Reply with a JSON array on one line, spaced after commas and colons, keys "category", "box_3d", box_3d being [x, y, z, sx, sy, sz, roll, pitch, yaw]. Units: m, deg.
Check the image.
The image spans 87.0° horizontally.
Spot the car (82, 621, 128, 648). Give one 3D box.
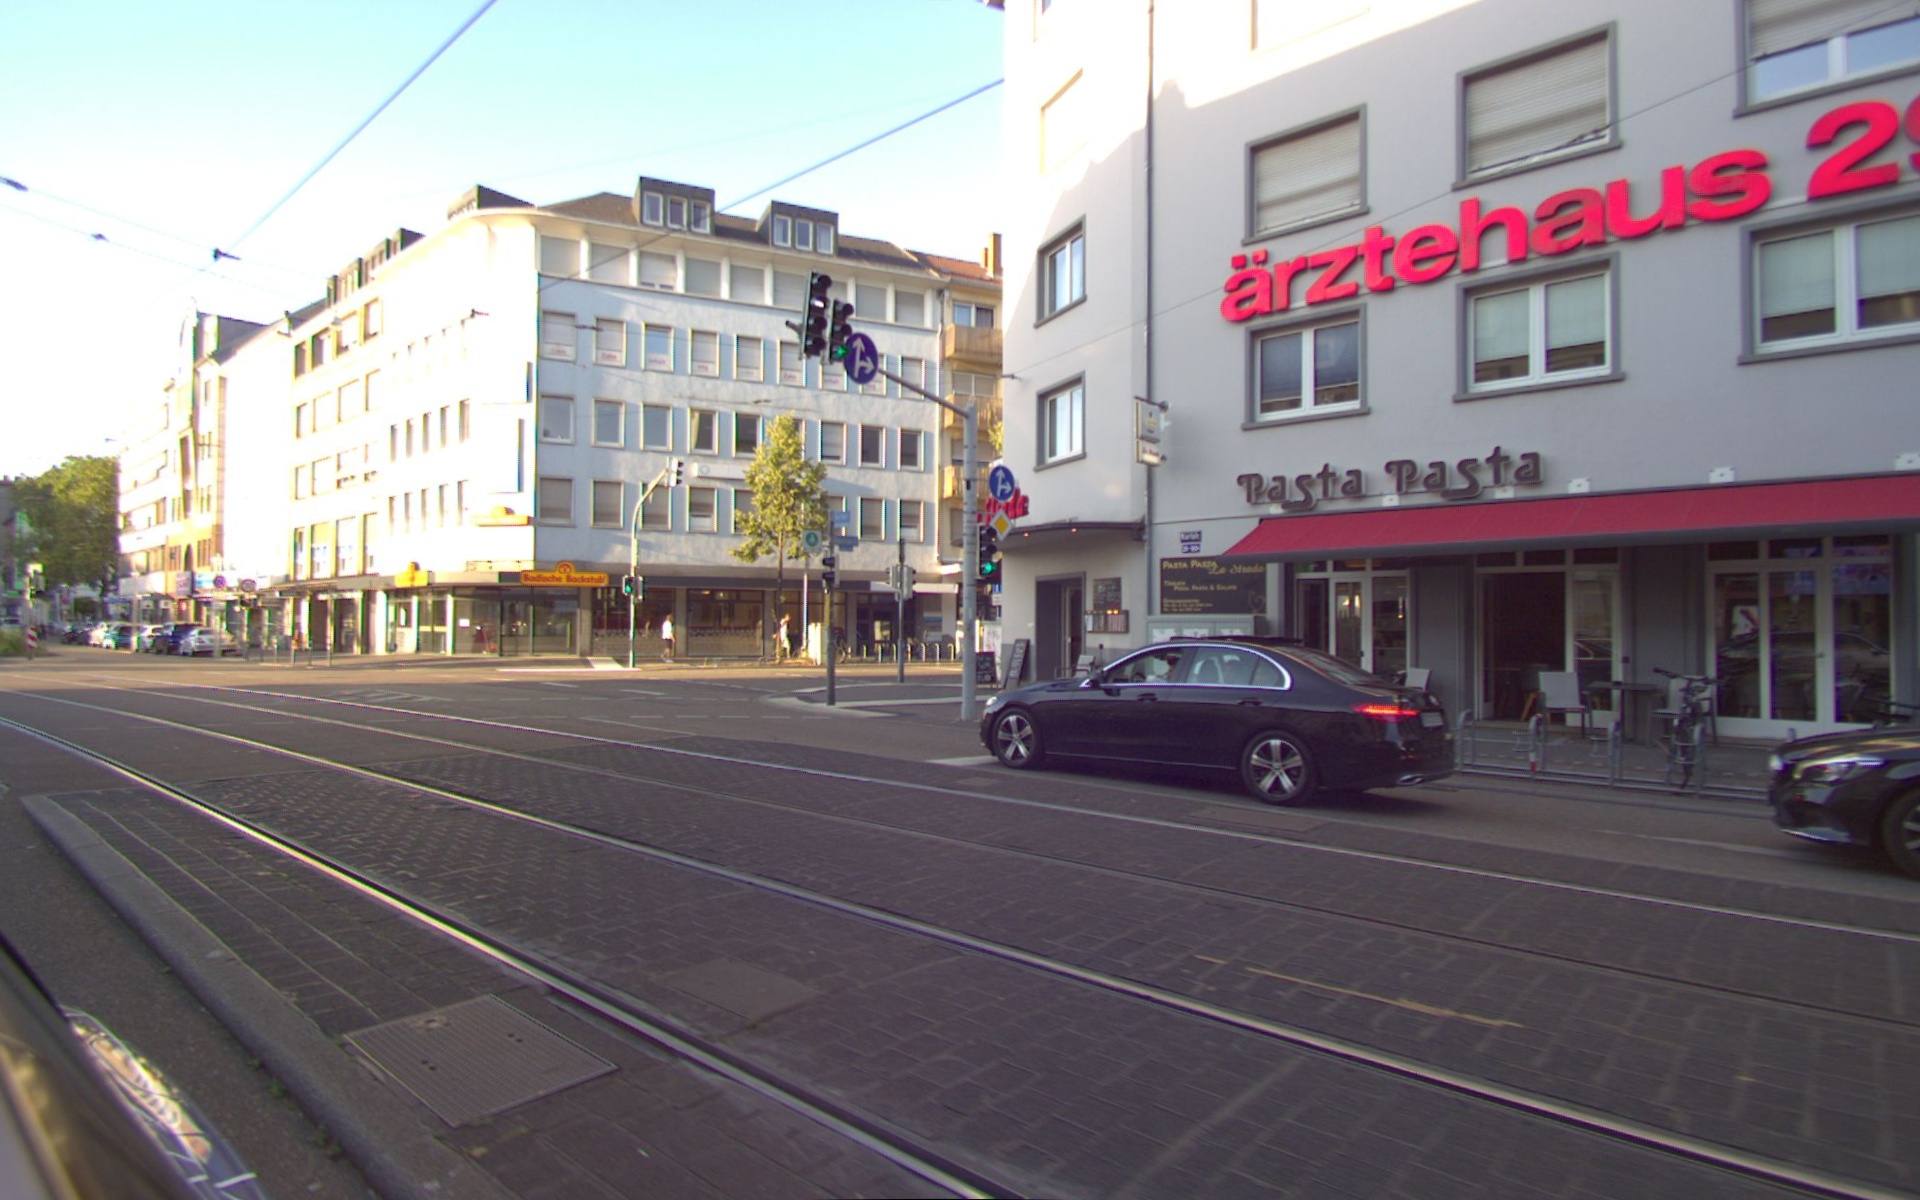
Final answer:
[{"category": "car", "box_3d": [-53.435, 2.133, 63.239, 4.001, 1.648, 1.822, -2, -2, 44]}]

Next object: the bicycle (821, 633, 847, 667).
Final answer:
[{"category": "bicycle", "box_3d": [-4.696, 1.853, 37.672, 0.462, 1.213, 1.925, 1, -2, -23]}]

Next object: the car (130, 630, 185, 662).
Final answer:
[{"category": "car", "box_3d": [-43.401, 2.440, 54.695, 4.001, 1.648, 1.822, -2, -2, 44]}]

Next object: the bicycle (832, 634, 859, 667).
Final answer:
[{"category": "bicycle", "box_3d": [-4.315, 1.876, 38.008, 0.462, 1.213, 1.925, 1, -2, -23]}]

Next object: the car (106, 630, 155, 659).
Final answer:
[{"category": "car", "box_3d": [-49.131, 2.596, 59.929, 4.001, 1.648, 1.822, -2, -2, 44]}]

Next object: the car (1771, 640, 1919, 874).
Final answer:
[{"category": "car", "box_3d": [7.576, 0.979, 5.715, 4.563, 1.397, 1.894, -1, -5, 43]}]

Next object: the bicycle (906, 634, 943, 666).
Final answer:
[{"category": "bicycle", "box_3d": [-1.408, 1.937, 39.337, 0.462, 1.213, 1.923, 2, -2, -35]}]

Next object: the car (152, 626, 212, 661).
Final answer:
[{"category": "car", "box_3d": [-38.698, 2.135, 50.325, 4.001, 1.648, 1.822, -2, -2, 44]}]

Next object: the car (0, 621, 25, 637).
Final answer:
[{"category": "car", "box_3d": [-97.048, 2.994, 103.563, 4.001, 1.648, 1.822, -2, -2, 44]}]

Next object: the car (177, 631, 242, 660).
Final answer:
[{"category": "car", "box_3d": [-35.183, 2.103, 47.432, 4.001, 1.304, 1.822, -2, -2, 44]}]

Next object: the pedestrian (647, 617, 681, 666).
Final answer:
[{"category": "pedestrian", "box_3d": [-10.724, 1.487, 36.707, 0.981, 1.739, 0.805, 0, 0, 4]}]

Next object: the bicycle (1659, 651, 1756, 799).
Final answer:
[{"category": "bicycle", "box_3d": [7.559, 1.195, 10.198, 0.607, 1.236, 1.836, -1, 1, 42]}]

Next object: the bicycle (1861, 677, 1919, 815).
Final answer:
[{"category": "bicycle", "box_3d": [8.586, 1.275, 9.165, 0.607, 0.991, 1.836, -1, 1, 42]}]

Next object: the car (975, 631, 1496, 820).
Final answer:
[{"category": "car", "box_3d": [2.480, 1.050, 9.883, 4.563, 1.397, 1.894, -1, -5, 43]}]

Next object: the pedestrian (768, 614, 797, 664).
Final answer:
[{"category": "pedestrian", "box_3d": [-6.912, 1.519, 39.427, 0.981, 1.901, 0.805, 0, 0, 4]}]

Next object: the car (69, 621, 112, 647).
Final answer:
[{"category": "car", "box_3d": [-58.272, 2.269, 67.811, 4.001, 1.648, 1.822, -2, -2, 44]}]
